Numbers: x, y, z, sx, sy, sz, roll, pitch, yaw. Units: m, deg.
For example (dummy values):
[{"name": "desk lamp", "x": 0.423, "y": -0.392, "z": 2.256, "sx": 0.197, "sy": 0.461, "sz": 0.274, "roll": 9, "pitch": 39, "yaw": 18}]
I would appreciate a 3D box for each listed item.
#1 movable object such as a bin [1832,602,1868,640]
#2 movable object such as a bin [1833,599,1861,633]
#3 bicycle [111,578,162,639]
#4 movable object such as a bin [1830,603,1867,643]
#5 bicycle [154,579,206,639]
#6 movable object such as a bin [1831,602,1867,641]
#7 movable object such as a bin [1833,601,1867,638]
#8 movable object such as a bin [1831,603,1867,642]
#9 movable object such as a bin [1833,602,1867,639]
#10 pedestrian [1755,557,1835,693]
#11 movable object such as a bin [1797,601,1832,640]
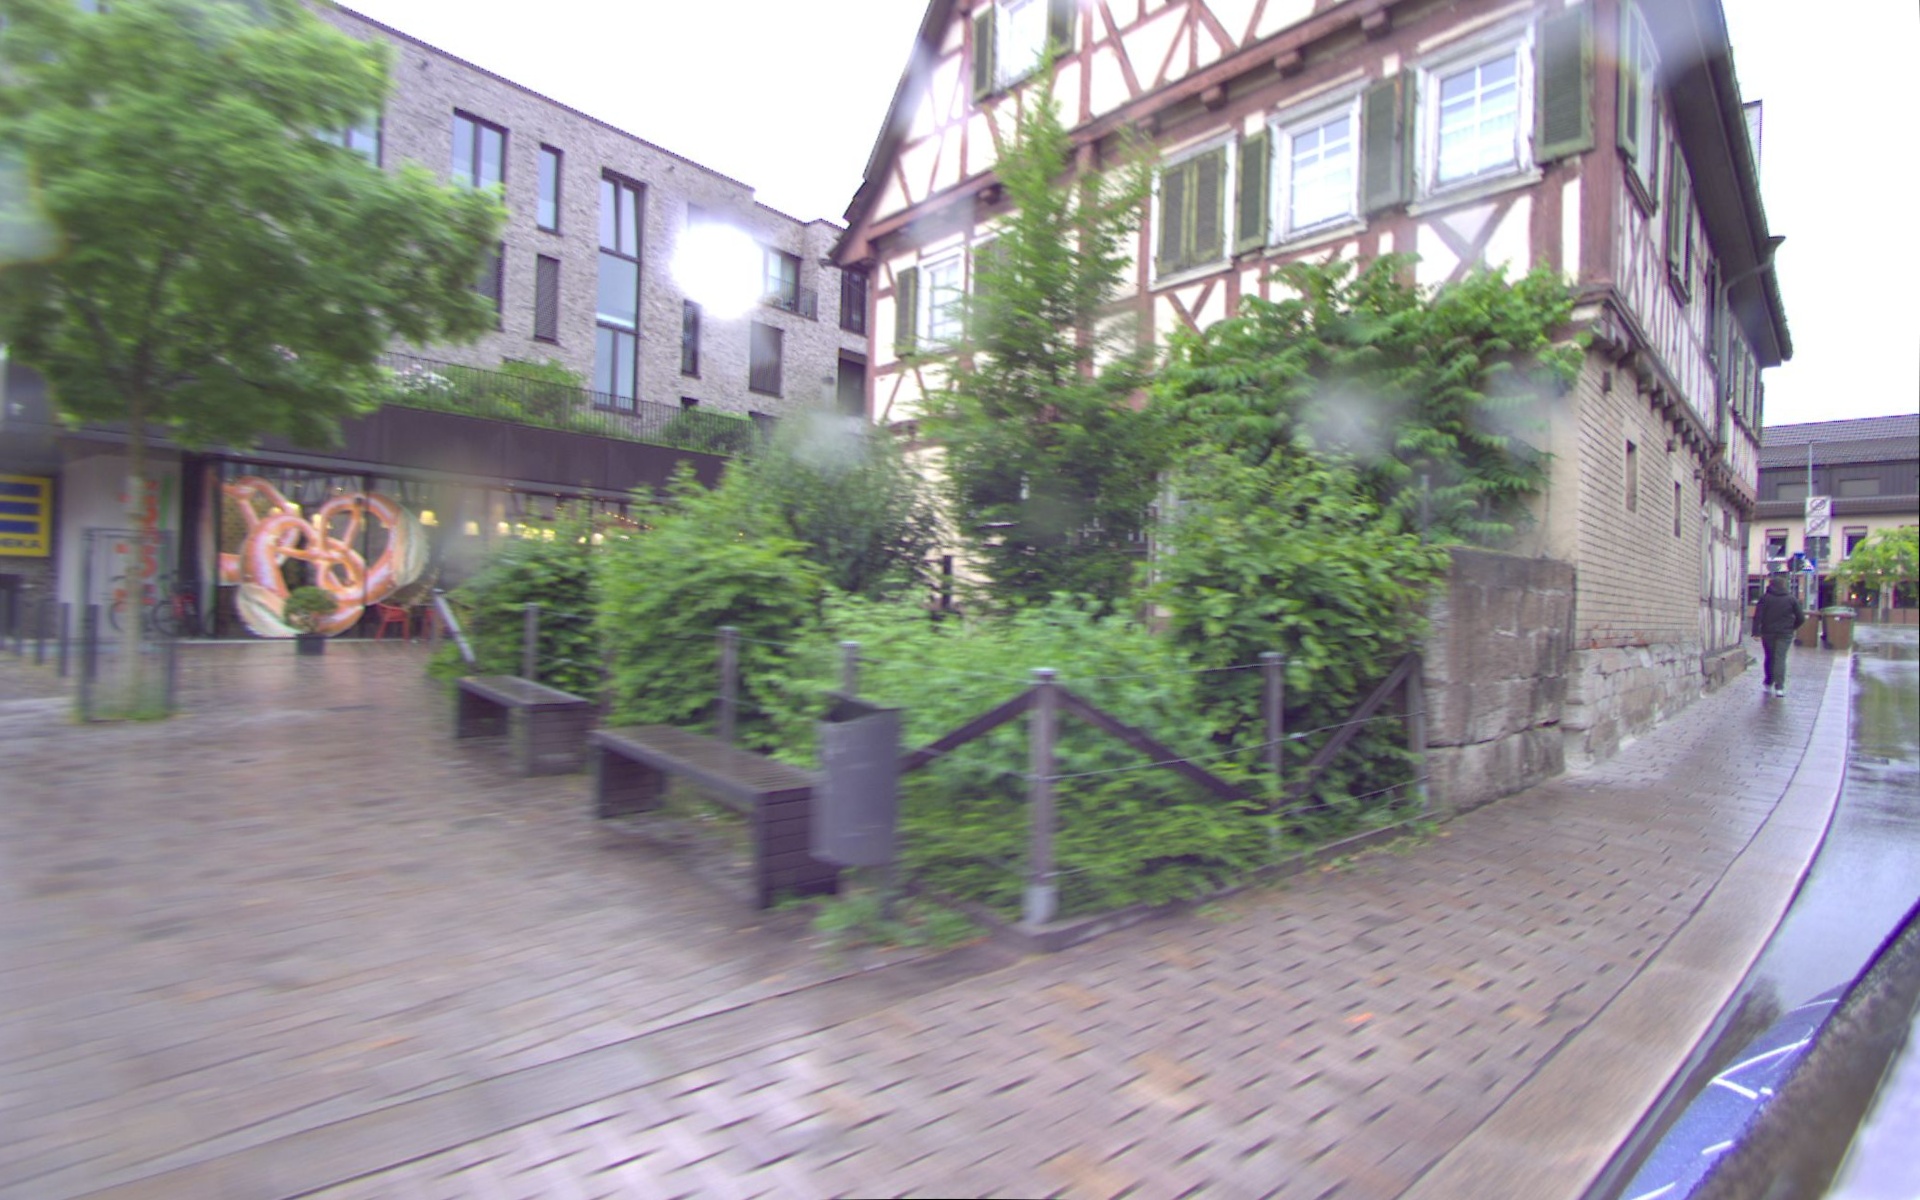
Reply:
[{"name": "movable object such as a bin", "x": 27.055, "y": 0.625, "z": 30.764, "sx": 0.765, "sy": 1.109, "sz": 0.572, "roll": 3, "pitch": 2, "yaw": 42}, {"name": "movable object such as a bin", "x": 29.742, "y": 0.533, "z": 33.933, "sx": 0.662, "sy": 1.109, "sz": 0.543, "roll": 3, "pitch": 2, "yaw": 41}, {"name": "bicycle", "x": -14.701, "y": 0.130, "z": 18.056, "sx": 1.700, "sy": 0.981, "sz": 0.442, "roll": 4, "pitch": 2, "yaw": 42}, {"name": "movable object such as a bin", "x": 25.759, "y": 0.664, "z": 29.338, "sx": 0.765, "sy": 1.109, "sz": 0.572, "roll": 3, "pitch": 2, "yaw": 42}, {"name": "bicycle", "x": -14.246, "y": 0.140, "z": 18.463, "sx": 1.700, "sy": 0.981, "sz": 0.442, "roll": 4, "pitch": 2, "yaw": 42}, {"name": "movable object such as a bin", "x": 26.629, "y": 0.638, "z": 30.326, "sx": 0.765, "sy": 1.109, "sz": 0.572, "roll": 3, "pitch": 2, "yaw": 42}, {"name": "movable object such as a bin", "x": 28.223, "y": 0.611, "z": 32.102, "sx": 0.765, "sy": 1.109, "sz": 0.572, "roll": 3, "pitch": 2, "yaw": 42}, {"name": "movable object such as a bin", "x": 26.243, "y": 0.647, "z": 29.887, "sx": 0.765, "sy": 1.109, "sz": 0.572, "roll": 3, "pitch": 2, "yaw": 42}, {"name": "movable object such as a bin", "x": 27.841, "y": 0.621, "z": 31.651, "sx": 0.765, "sy": 1.109, "sz": 0.572, "roll": 3, "pitch": 2, "yaw": 42}, {"name": "pedestrian", "x": 12.287, "y": 0.346, "z": 14.906, "sx": 0.809, "sy": 1.908, "sz": 0.894, "roll": 3, "pitch": 2, "yaw": 40}, {"name": "movable object such as a bin", "x": 25.559, "y": 0.604, "z": 30.274, "sx": 0.765, "sy": 1.109, "sz": 0.617, "roll": 3, "pitch": 2, "yaw": 42}]
